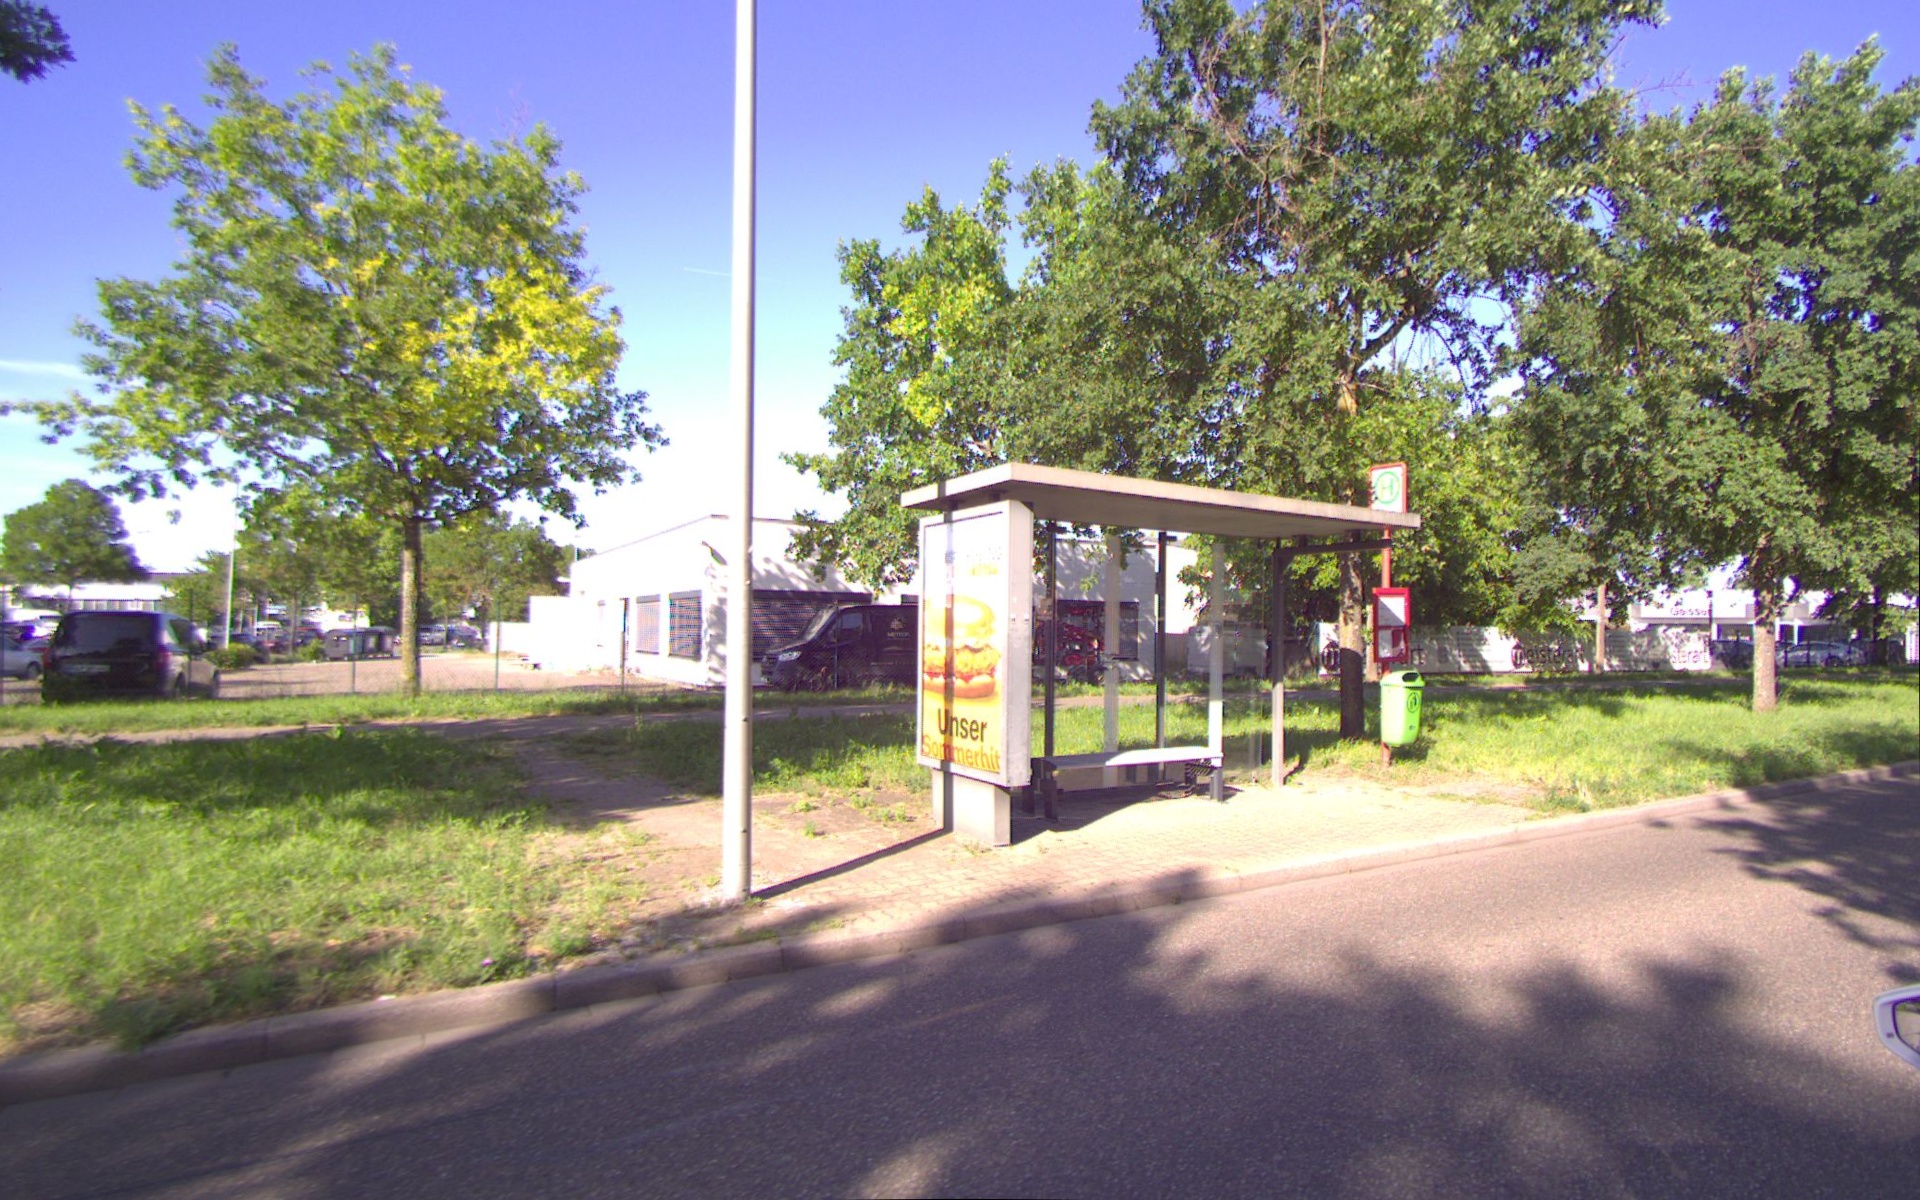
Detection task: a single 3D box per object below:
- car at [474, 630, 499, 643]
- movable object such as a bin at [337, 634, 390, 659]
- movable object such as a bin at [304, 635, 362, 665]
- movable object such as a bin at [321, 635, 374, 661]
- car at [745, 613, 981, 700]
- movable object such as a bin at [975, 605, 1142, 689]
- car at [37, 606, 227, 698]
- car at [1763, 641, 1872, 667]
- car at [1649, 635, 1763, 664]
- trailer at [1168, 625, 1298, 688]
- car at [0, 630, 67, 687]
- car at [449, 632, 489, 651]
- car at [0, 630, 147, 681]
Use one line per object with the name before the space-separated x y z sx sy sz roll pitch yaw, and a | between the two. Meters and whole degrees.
car | -58.627 4.551 124.540 1.769 1.531 3.993 0 -1 -10
movable object such as a bin | -28.413 2.209 47.883 1.616 1.159 1.688 1 -1 -9
movable object such as a bin | -27.843 2.213 44.640 1.616 1.288 1.676 1 -1 -9
movable object such as a bin | -28.187 2.206 46.253 1.616 1.159 1.491 1 -1 -9
car | -2.415 1.420 25.852 5.739 2.014 2.026 2 -2 -30
movable object such as a bin | 2.855 1.328 29.026 4.406 2.246 2.093 1 -2 -29
car | -15.217 0.918 18.746 1.918 1.499 4.481 2 -2 -29
car | 46.747 2.904 54.834 1.919 1.305 4.176 1 -2 -31
car | 37.152 2.440 50.133 1.919 1.305 4.176 1 -2 -31
trailer | 8.881 1.788 32.685 3.695 1.940 2.093 1 -2 -29
car | -28.485 1.696 29.243 1.768 1.597 3.995 0 -1 -7
car | -40.386 3.418 82.751 1.768 1.531 3.996 1 -2 -7
car | -29.479 1.795 33.564 1.768 1.531 3.995 0 -1 -7
